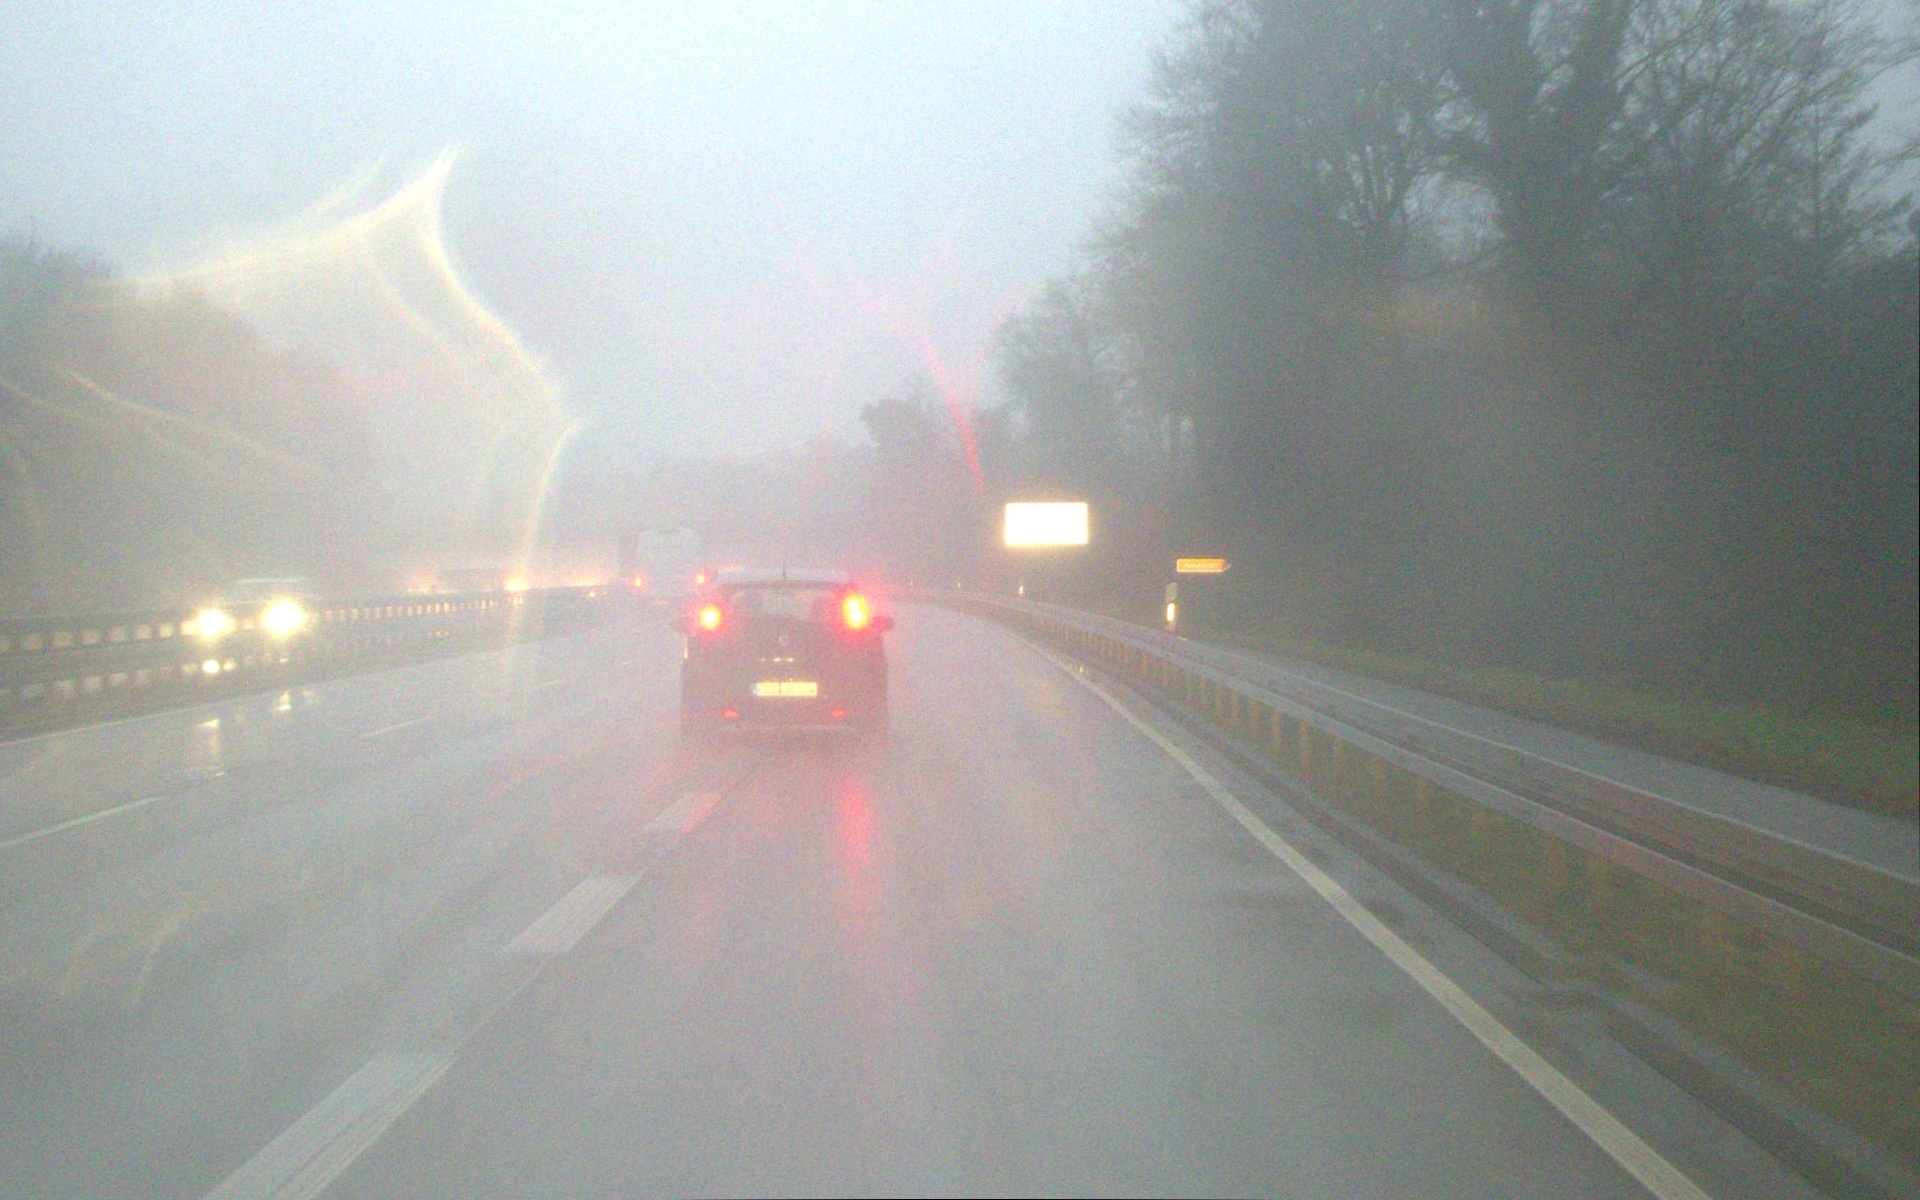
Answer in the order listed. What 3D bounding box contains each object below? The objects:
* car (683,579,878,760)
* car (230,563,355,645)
[{"bbox_3d":[-1.539,0.549,29.445,1.527,1.411,3.479,2,0,-3],"label":"car"},{"bbox_3d":[-13.814,0.053,71.377,1.842,1.651,4.669,0,1,-2],"label":"car"}]
